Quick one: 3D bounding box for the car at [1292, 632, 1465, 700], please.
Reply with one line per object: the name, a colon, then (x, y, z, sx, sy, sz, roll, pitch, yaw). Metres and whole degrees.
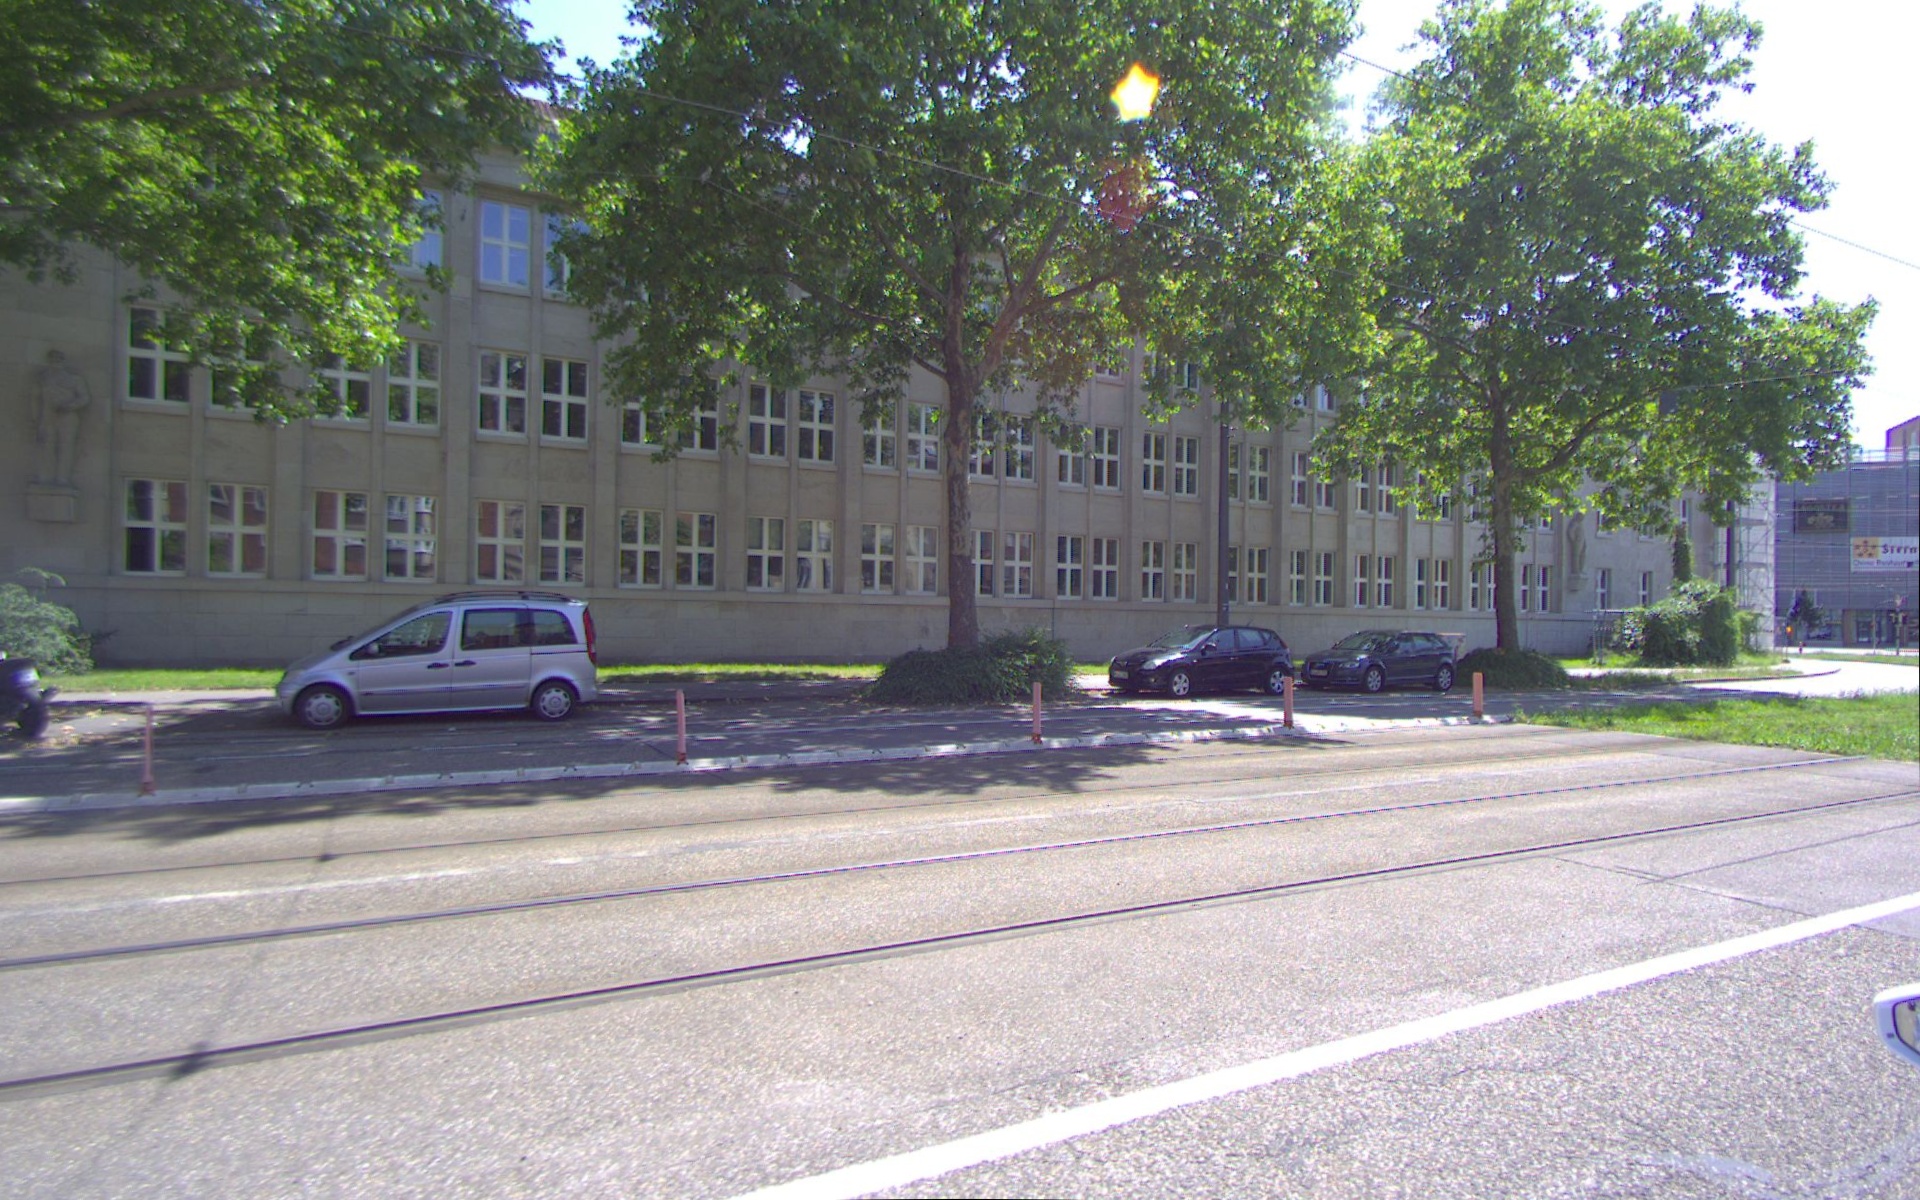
car: (9.907, 1.506, 23.696, 4.274, 1.443, 1.579, 1, 0, -32)

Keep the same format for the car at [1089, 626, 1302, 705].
car: (4.998, 1.335, 21.239, 4.268, 1.503, 1.756, 1, 0, -27)

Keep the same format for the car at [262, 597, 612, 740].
car: (-7.458, 0.916, 14.718, 4.244, 1.835, 1.987, 1, 0, -26)

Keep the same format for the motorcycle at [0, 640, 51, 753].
motorcycle: (-11.921, 1.153, 12.265, 1.840, 1.082, 0.725, 7, 3, 32)
